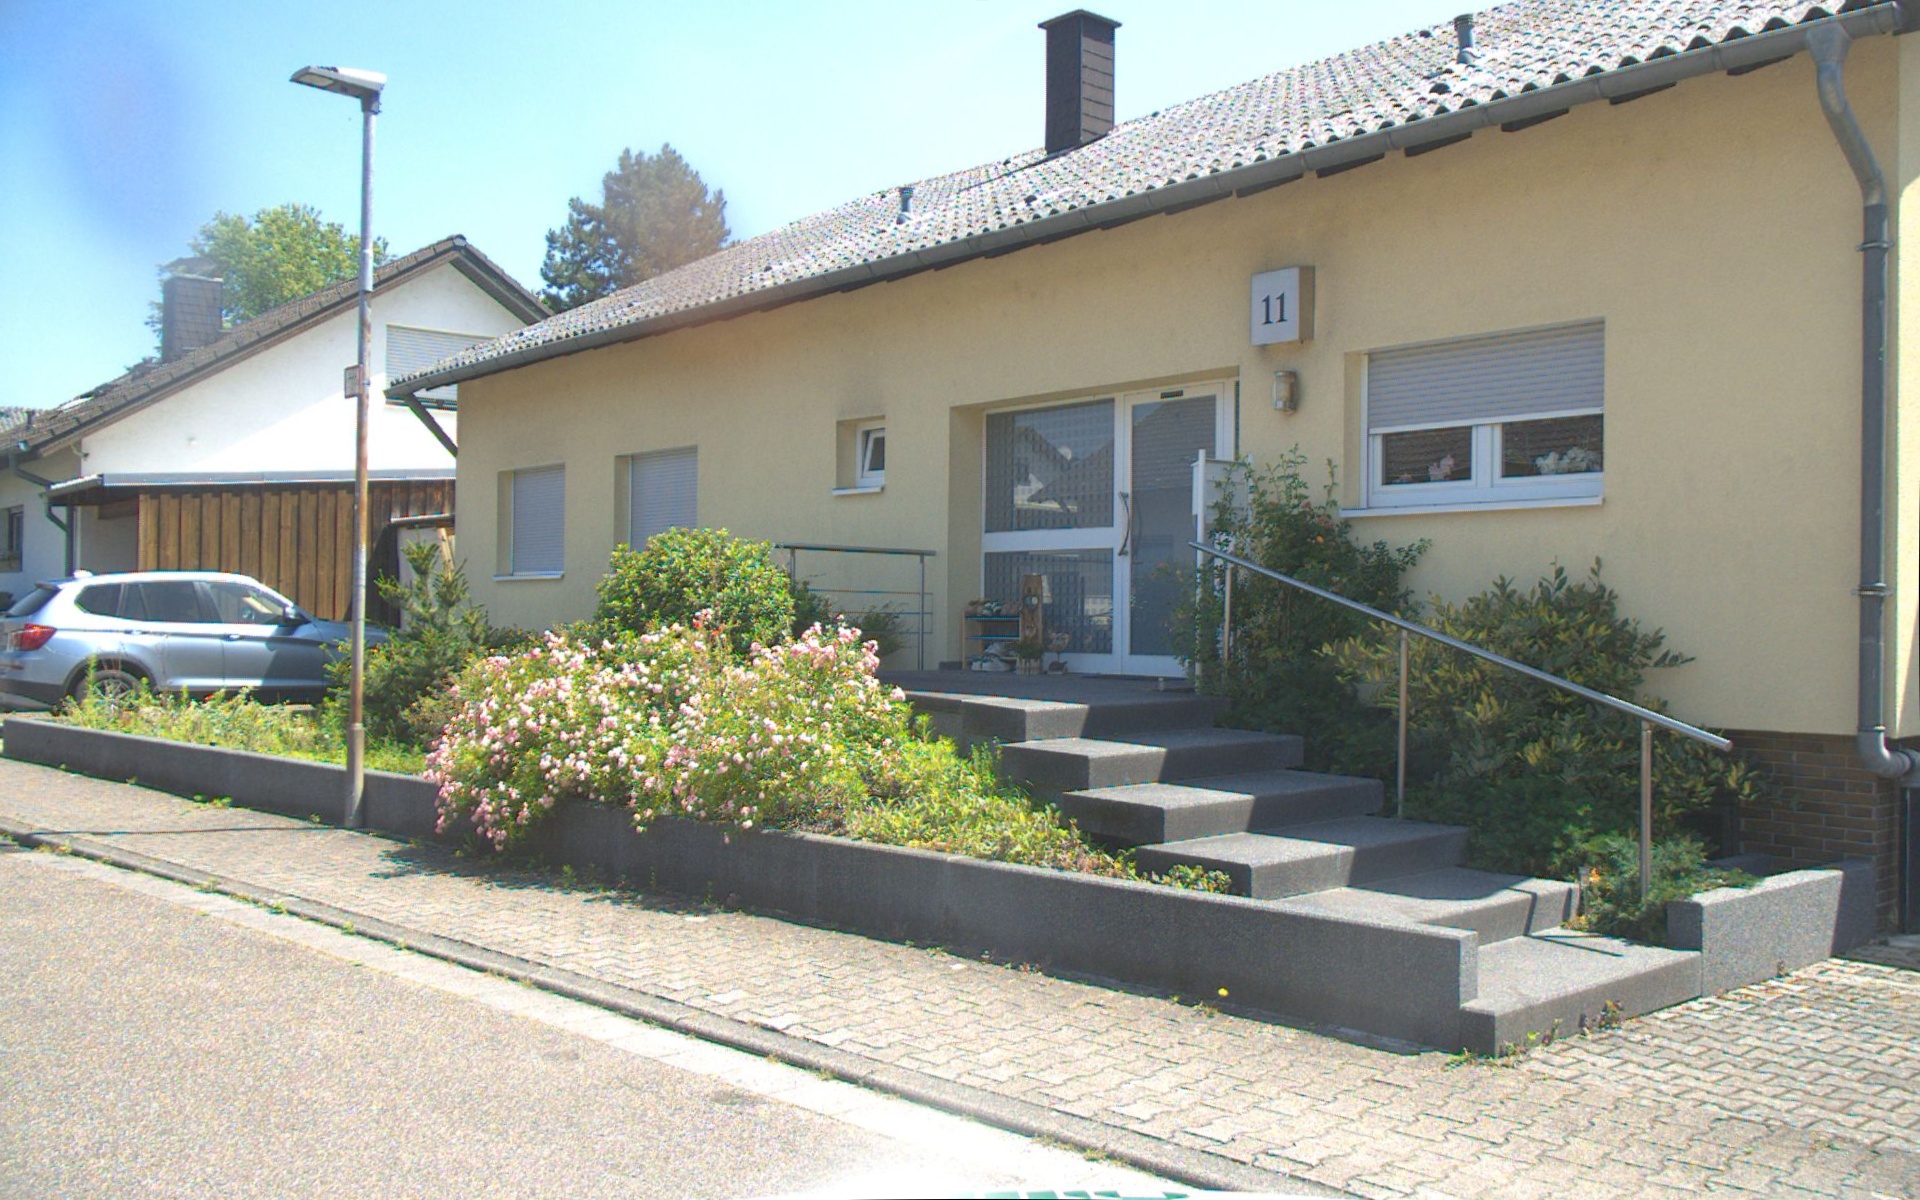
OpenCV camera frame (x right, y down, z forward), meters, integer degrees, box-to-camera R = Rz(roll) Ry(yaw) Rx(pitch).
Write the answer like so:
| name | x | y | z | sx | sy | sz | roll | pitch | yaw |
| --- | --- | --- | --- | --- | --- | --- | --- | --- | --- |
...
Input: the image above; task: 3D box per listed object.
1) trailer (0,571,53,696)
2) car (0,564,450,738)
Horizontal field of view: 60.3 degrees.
| name | x | y | z | sx | sy | sz | roll | pitch | yaw |
| --- | --- | --- | --- | --- | --- | --- | --- | --- | --- |
| trailer | -14.158 | 0.436 | 23.539 | 1.578 | 1.701 | 3.248 | -1 | 1 | -40 |
| car | -8.319 | 0.480 | 18.702 | 4.596 | 1.732 | 1.686 | -1 | 1 | -39 |
